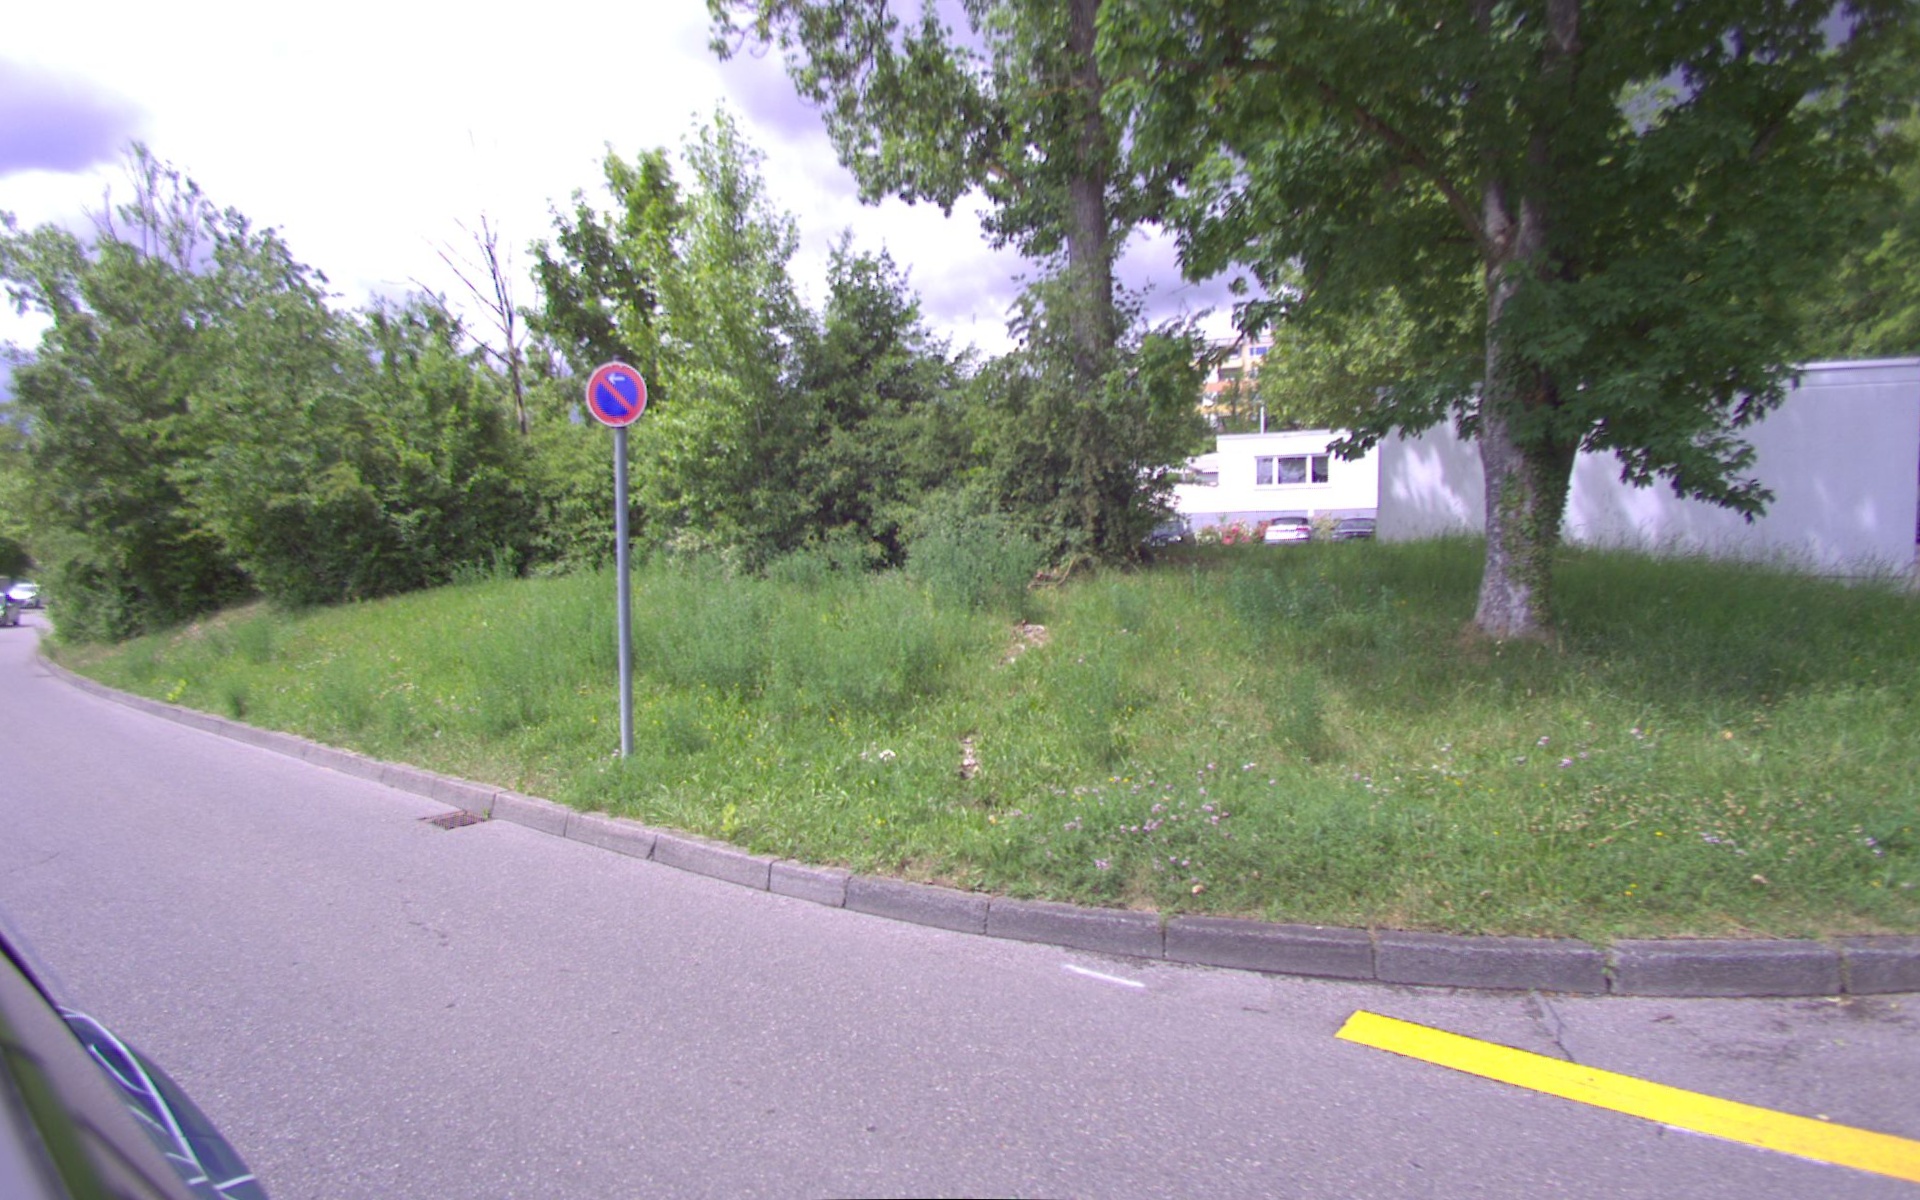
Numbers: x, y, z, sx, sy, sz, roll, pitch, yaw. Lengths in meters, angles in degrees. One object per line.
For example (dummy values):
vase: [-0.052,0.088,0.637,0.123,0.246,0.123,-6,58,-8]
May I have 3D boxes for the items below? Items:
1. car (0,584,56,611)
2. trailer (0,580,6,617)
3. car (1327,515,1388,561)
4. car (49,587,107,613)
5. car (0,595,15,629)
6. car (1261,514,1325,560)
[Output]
car: [-58.283,-0.173,63.238,1.682,1.488,3.796,1,2,-26]
trailer: [-55.928,-0.057,57.517,1.706,2.094,3.795,1,2,-30]
car: [14.587,-2.236,37.064,1.805,1.543,3.967,3,3,25]
car: [-55.058,0.028,63.234,1.766,1.520,4.126,2,-1,-27]
car: [-45.877,0.529,47.411,1.767,1.520,4.123,2,0,-36]
car: [12.711,-2.362,38.469,1.805,1.543,3.967,3,3,25]
